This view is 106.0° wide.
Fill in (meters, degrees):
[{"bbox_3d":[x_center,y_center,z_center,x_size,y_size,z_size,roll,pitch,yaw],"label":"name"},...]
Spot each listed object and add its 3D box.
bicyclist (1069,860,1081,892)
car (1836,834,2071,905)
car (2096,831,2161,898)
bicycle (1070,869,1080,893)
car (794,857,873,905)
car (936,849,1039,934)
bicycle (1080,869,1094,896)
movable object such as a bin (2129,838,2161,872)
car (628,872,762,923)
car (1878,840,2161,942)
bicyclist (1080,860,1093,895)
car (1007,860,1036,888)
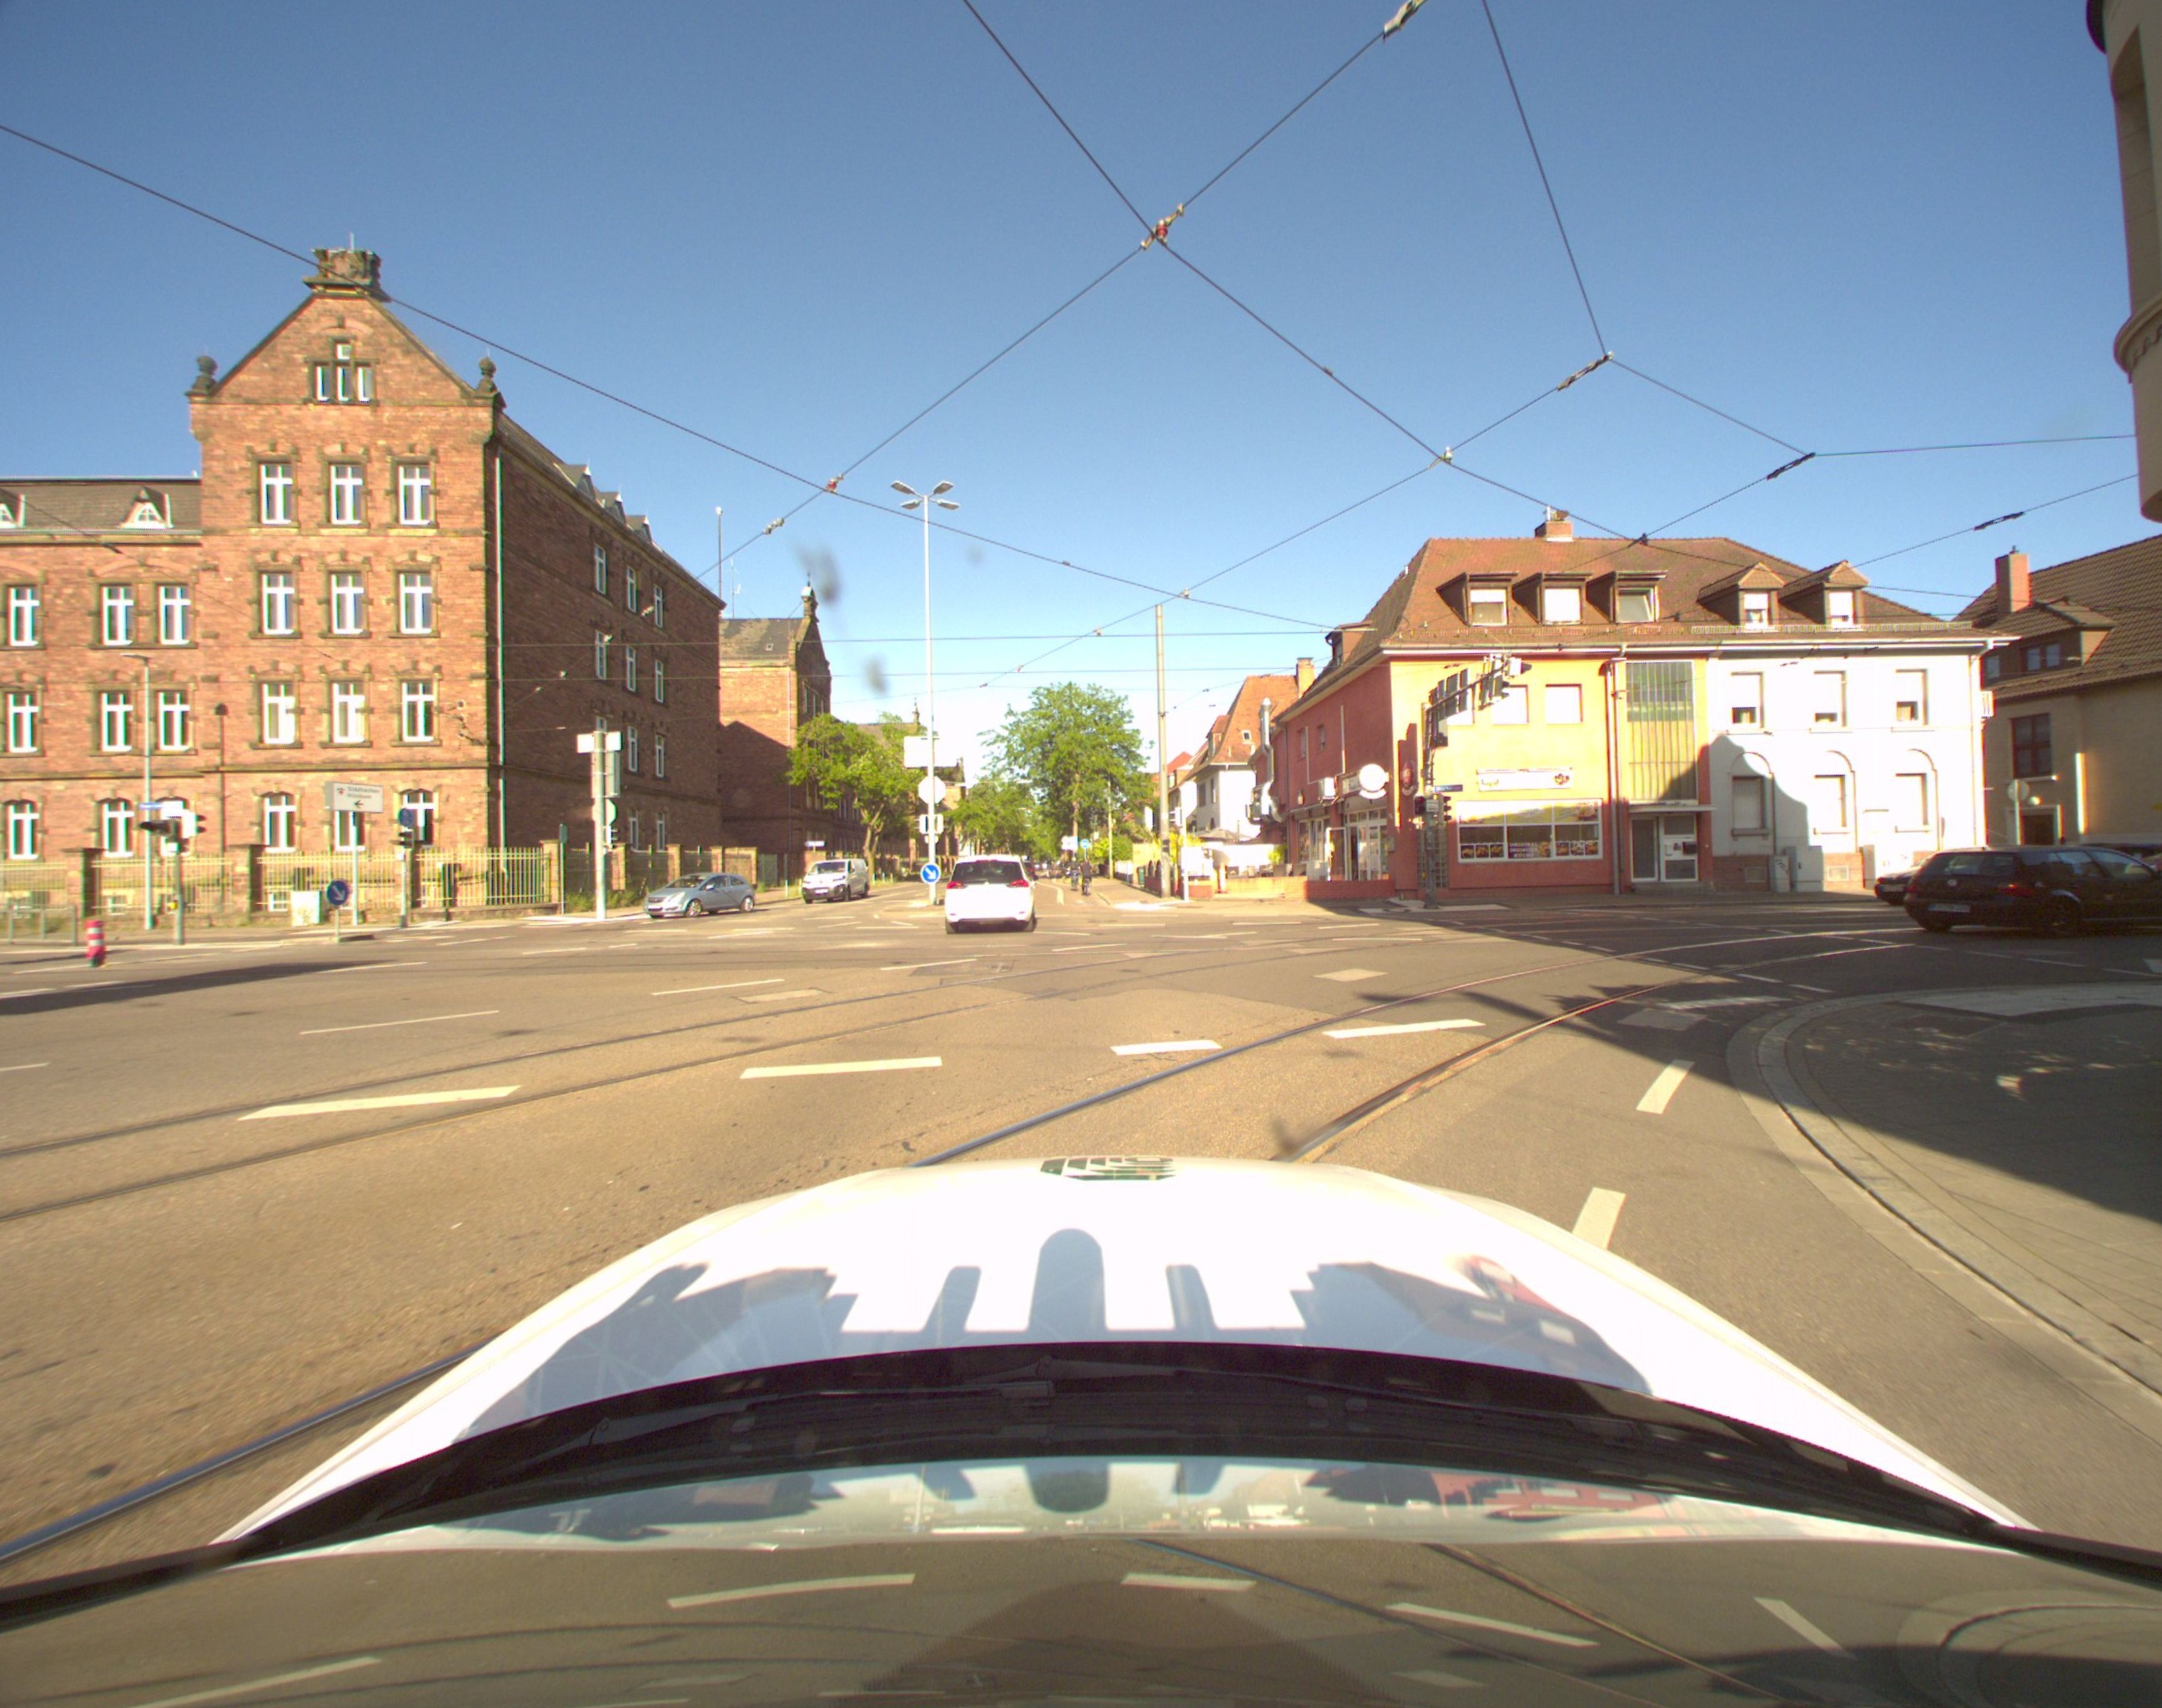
[{"bbox_3d":[-0.318,1.148,43.239,0.606,1.656,0.795,-1,1,-1],"label":"bicyclist"},{"bbox_3d":[21.517,0.400,20.203,3.902,1.568,1.689,-2,-3,0],"label":"car"},{"bbox_3d":[28.337,0.206,19.884,4.680,1.611,1.745,-2,-2,2],"label":"car"},{"bbox_3d":[-0.304,1.400,42.921,0.469,1.189,1.994,-1,0,-1],"label":"bicycle"},{"bbox_3d":[-11.021,1.159,36.702,2.153,1.929,5.296,-2,0,-3],"label":"car"},{"bbox_3d":[-1.959,0.735,18.287,1.958,1.665,4.246,1,0,-3],"label":"car"},{"bbox_3d":[0.265,1.331,38.127,0.556,1.189,1.994,-1,0,-1],"label":"bicycle"},{"bbox_3d":[35.979,0.023,27.380,0.668,1.111,0.644,-2,2,-2],"label":"movable object such as a bin"},{"bbox_3d":[-12.899,1.422,27.538,1.723,1.443,4.133,-2,-1,17],"label":"car"},{"bbox_3d":[15.302,0.536,12.929,3.991,1.402,1.716,-1,-1,-9],"label":"car"},{"bbox_3d":[0.267,1.117,38.380,0.552,1.617,0.686,-1,1,-1],"label":"bicyclist"},{"bbox_3d":[-4.332,1.430,59.090,1.989,1.849,4.241,1,0,-6],"label":"car"}]
